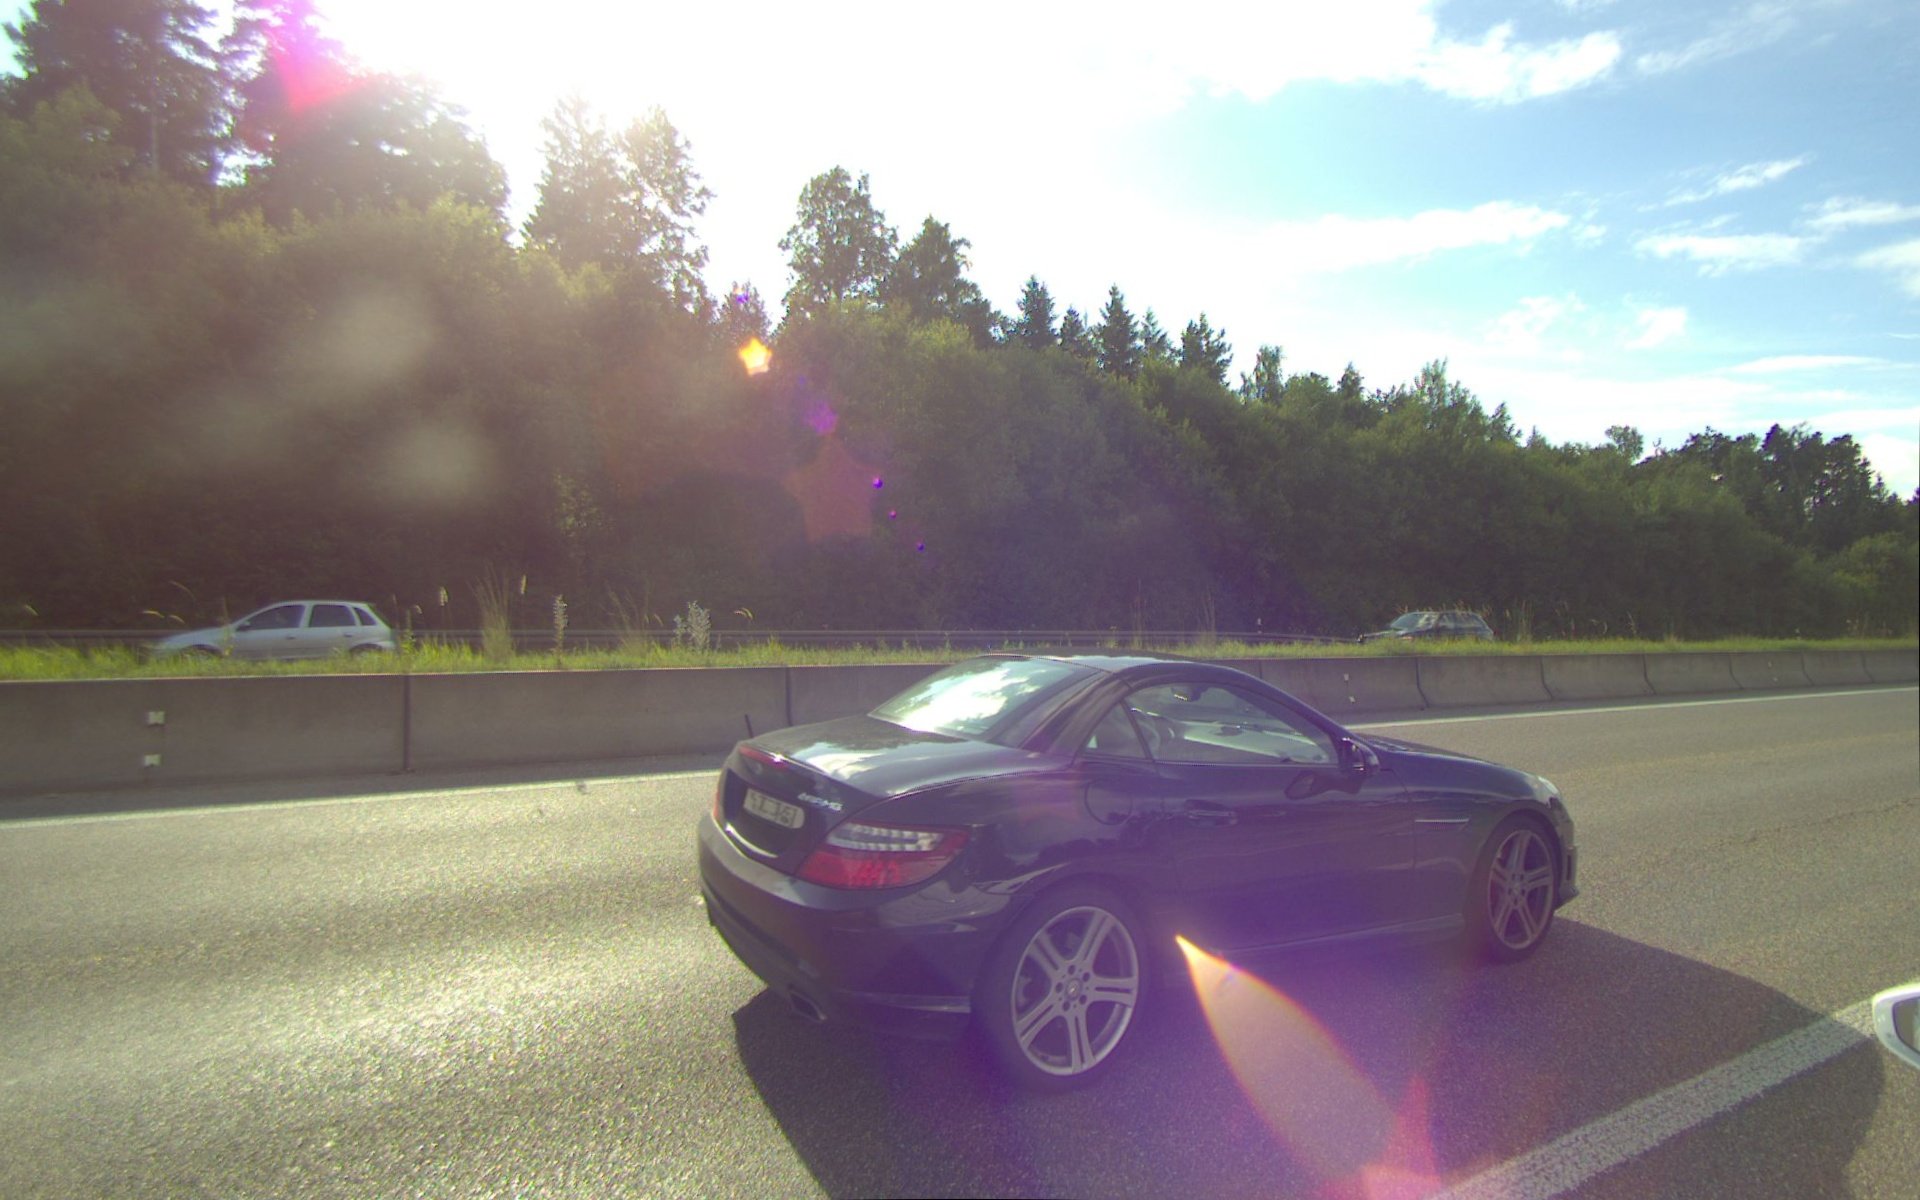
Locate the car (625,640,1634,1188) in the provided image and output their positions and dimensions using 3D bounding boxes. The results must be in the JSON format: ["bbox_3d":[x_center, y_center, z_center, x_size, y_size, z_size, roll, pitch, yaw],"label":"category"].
[{"bbox_3d":[0.881,0.856,4.326,4.149,1.300,1.736,1,0,-30],"label":"car"}]

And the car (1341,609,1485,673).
[{"bbox_3d":[13.203,1.160,29.267,3.953,1.740,1.897,1,0,-30],"label":"car"}]

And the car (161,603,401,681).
[{"bbox_3d":[-12.333,0.732,18.542,3.502,1.307,1.808,1,0,-30],"label":"car"}]
